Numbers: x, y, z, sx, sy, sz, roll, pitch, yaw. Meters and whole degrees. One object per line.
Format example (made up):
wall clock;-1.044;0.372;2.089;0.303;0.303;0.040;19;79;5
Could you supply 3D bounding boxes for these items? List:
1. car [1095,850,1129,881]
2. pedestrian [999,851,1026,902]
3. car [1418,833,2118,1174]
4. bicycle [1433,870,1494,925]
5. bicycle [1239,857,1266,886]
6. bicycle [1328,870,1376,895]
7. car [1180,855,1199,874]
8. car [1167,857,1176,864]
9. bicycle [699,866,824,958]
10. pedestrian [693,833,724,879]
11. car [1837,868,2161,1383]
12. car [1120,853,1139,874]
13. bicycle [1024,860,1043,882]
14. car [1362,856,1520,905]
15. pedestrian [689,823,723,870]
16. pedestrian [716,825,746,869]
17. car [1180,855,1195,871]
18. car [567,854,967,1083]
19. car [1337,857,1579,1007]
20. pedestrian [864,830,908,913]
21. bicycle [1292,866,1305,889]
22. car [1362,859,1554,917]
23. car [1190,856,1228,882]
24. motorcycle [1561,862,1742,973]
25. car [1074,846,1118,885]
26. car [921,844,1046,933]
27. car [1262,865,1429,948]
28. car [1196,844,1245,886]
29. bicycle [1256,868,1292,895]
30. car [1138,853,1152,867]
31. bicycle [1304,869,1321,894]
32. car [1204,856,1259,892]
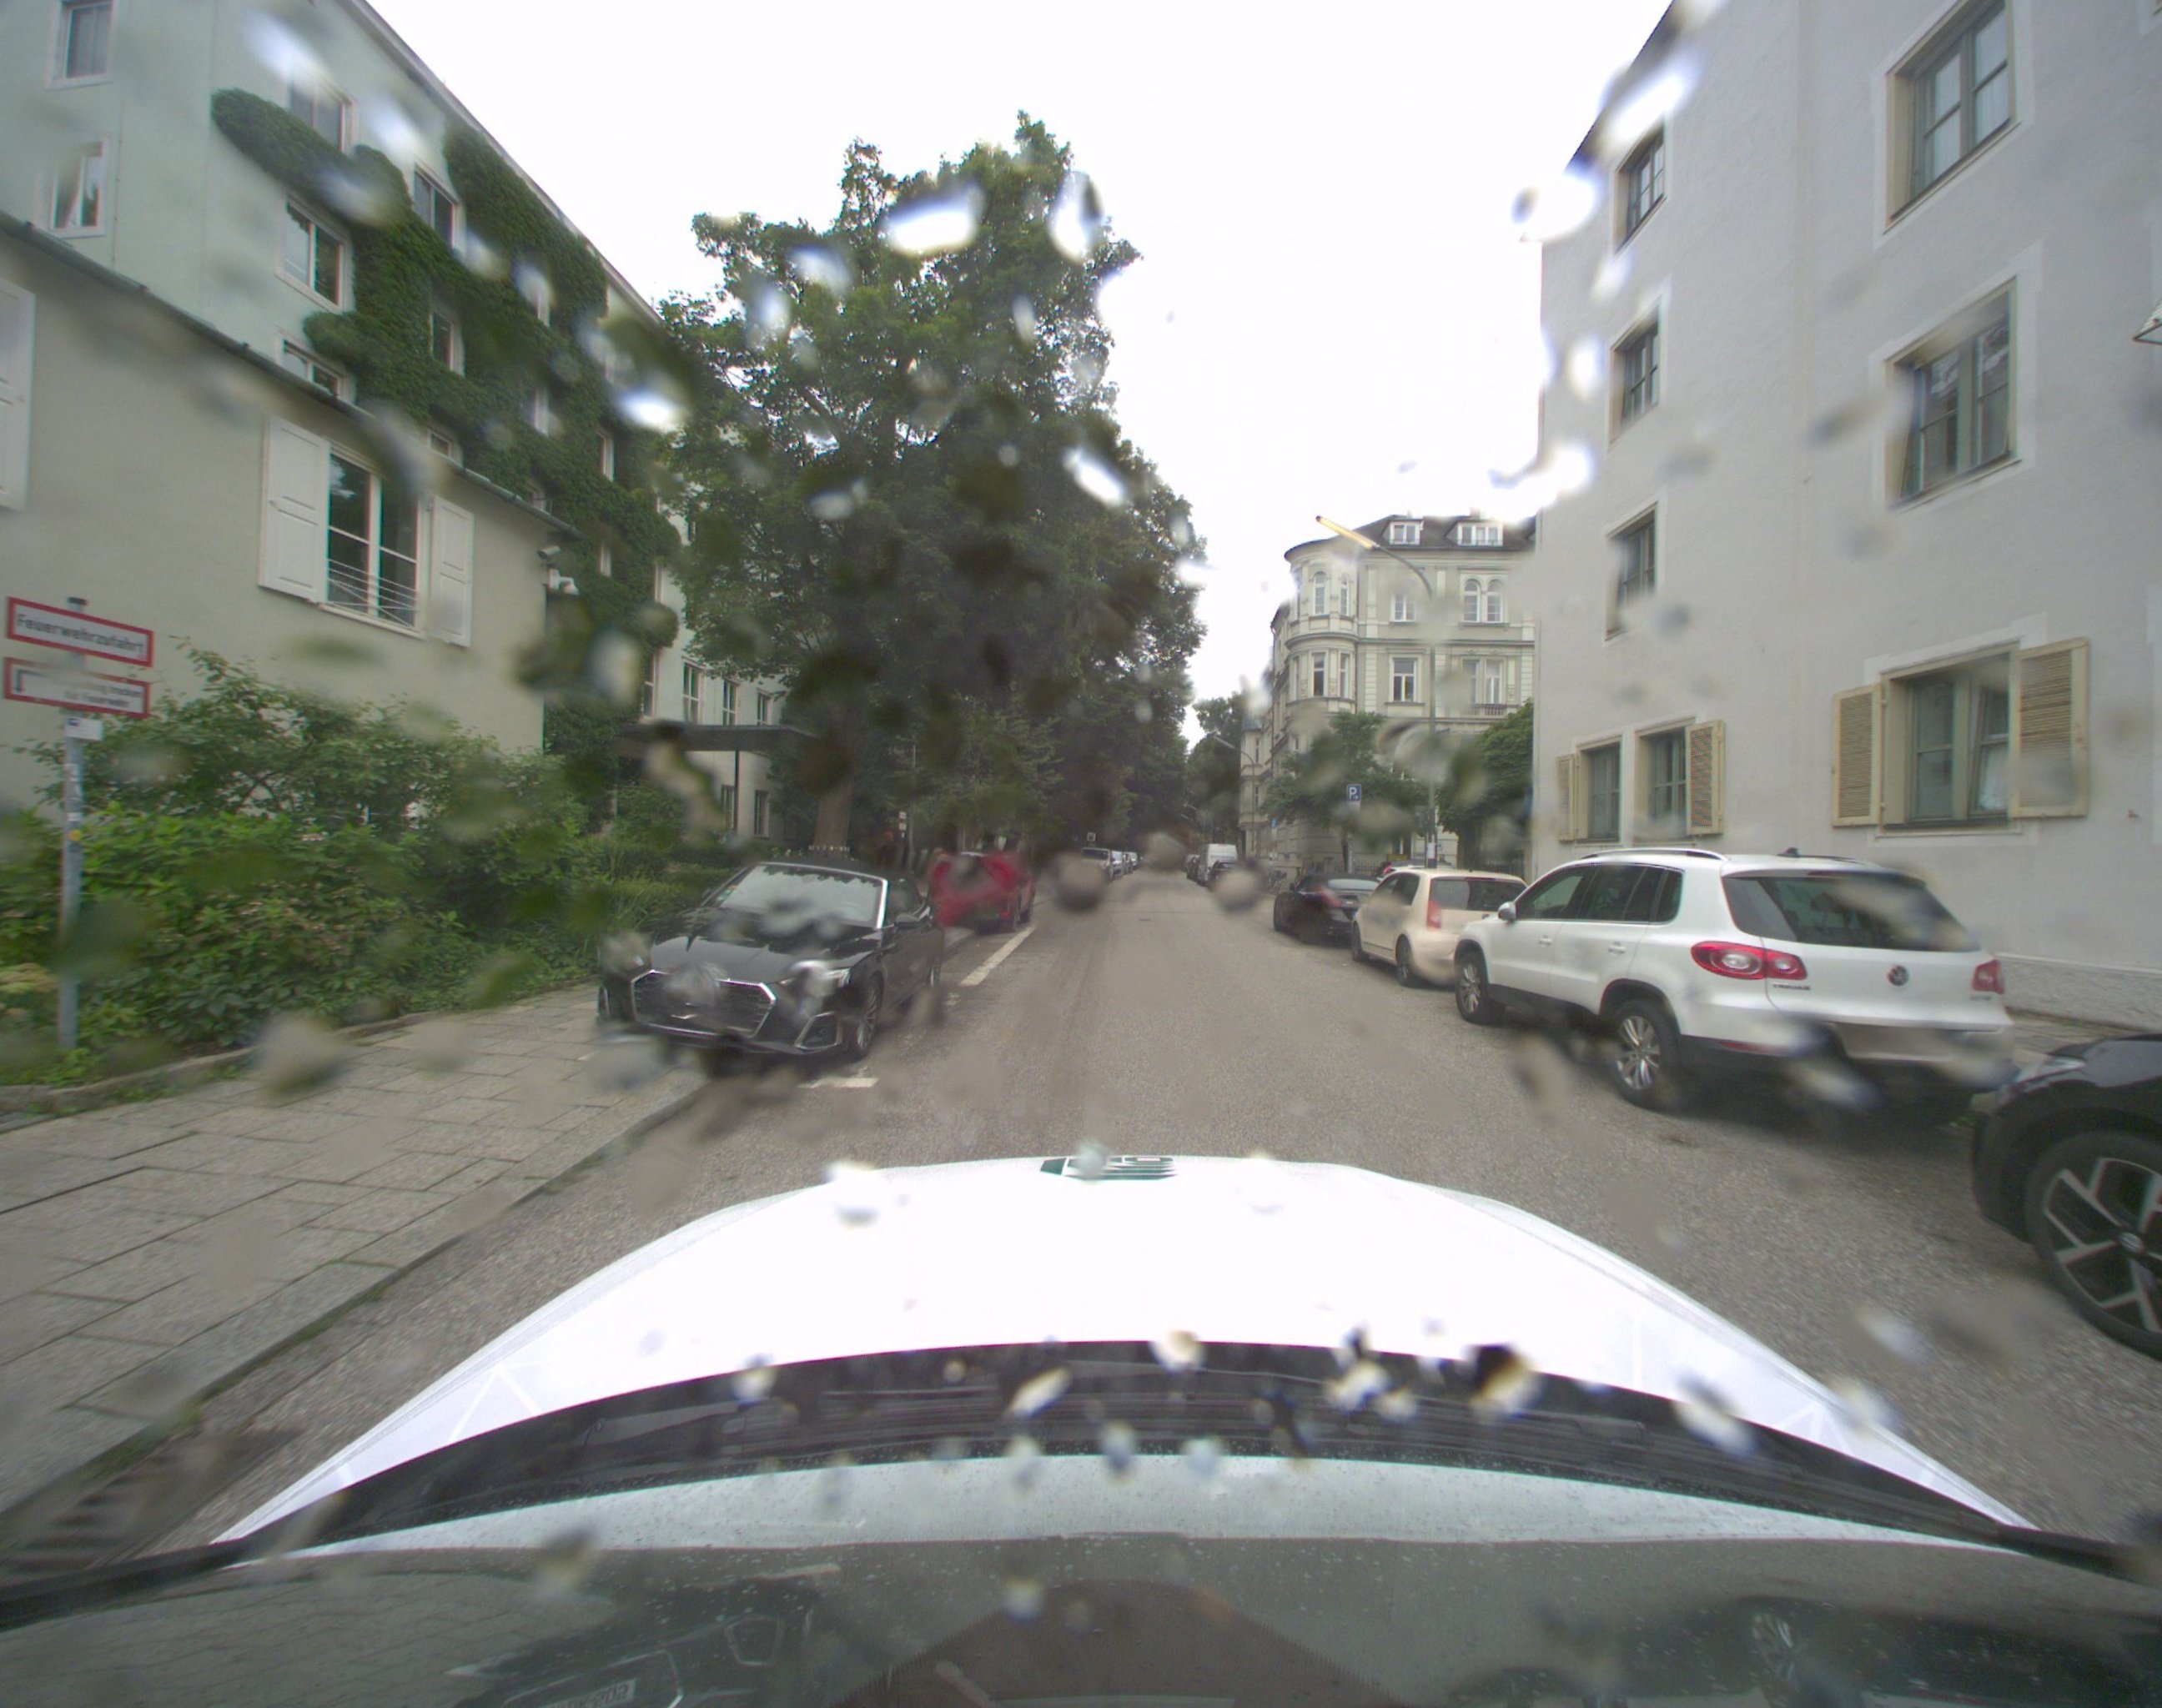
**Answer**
car;2.181;0.770;57.204;2.175;1.956;5.169;2;0;2
pedestrian;-2.127;0.687;25.293;0.711;1.548;0.752;3;-1;-1
car;4.597;0.799;6.622;1.985;1.707;4.538;3;0;3
bicycle;9.007;1.001;19.259;0.540;1.225;1.775;1;-1;-3
bicycle;9.367;0.946;44.507;0.708;1.515;2.030;1;0;-12
bicycle;11.735;1.245;35.275;1.912;1.028;0.558;1;1;7
car;11.755;1.128;88.058;1.983;1.975;4.008;0;0;7
car;21.045;1.506;188.740;1.983;1.783;4.008;0;0;7
bicycle;-4.420;0.757;11.456;0.645;1.130;2.053;1;0;9
pedestrian;-14.568;0.076;31.883;0.747;1.753;0.901;1;-2;0
car;4.089;0.825;1.330;1.830;1.531;4.420;0;0;4
car;5.413;1.011;90.102;1.993;2.186;4.701;2;0;4
bicycle;-2.426;0.871;42.054;0.629;1.102;1.770;2;-1;7
car;13.255;1.014;30.251;5.017;1.653;1.944;1;-4;2
pedestrian;-14.311;-0.289;31.082;0.895;1.753;0.753;1;0;2
pedestrian;-14.227;-0.277;33.121;0.747;1.753;0.901;1;-2;0
car;13.993;1.155;107.155;1.983;2.014;4.008;0;0;7
car;-2.365;0.750;7.717;1.801;1.402;4.923;2;0;0
car;4.920;0.906;11.237;1.762;1.546;3.716;6;0;5
pedestrian;-4.512;0.397;18.881;0.709;1.852;0.797;2;-1;3
bicycle;10.742;1.147;40.247;0.542;1.060;1.757;1;0;14
car;11.250;0.988;24.548;4.886;1.531;1.915;1;2;2
car;8.426;0.963;53.961;2.129;1.630;4.319;0;-1;3
motorcycle;8.420;0.862;12.232;0.854;1.433;2.707;1;0;1
car;0.892;0.640;45.533;2.239;1.956;5.457;2;0;2
car;-1.912;0.652;17.450;1.879;1.590;4.530;2;0;3
car;4.996;0.918;16.119;1.992;1.319;4.598;-1;0;3
car;7.644;0.602;45.143;2.194;2.208;4.859;0;-1;4
bicycle;8.194;1.163;34.629;0.654;1.028;2.194;0;1;-10
car;10.168;0.904;129.737;2.039;2.154;4.316;2;0;2
bicycle;10.429;1.214;36.700;0.427;1.028;1.894;1;1;7
car;6.976;0.909;38.196;2.260;1.546;4.596;0;-1;7
